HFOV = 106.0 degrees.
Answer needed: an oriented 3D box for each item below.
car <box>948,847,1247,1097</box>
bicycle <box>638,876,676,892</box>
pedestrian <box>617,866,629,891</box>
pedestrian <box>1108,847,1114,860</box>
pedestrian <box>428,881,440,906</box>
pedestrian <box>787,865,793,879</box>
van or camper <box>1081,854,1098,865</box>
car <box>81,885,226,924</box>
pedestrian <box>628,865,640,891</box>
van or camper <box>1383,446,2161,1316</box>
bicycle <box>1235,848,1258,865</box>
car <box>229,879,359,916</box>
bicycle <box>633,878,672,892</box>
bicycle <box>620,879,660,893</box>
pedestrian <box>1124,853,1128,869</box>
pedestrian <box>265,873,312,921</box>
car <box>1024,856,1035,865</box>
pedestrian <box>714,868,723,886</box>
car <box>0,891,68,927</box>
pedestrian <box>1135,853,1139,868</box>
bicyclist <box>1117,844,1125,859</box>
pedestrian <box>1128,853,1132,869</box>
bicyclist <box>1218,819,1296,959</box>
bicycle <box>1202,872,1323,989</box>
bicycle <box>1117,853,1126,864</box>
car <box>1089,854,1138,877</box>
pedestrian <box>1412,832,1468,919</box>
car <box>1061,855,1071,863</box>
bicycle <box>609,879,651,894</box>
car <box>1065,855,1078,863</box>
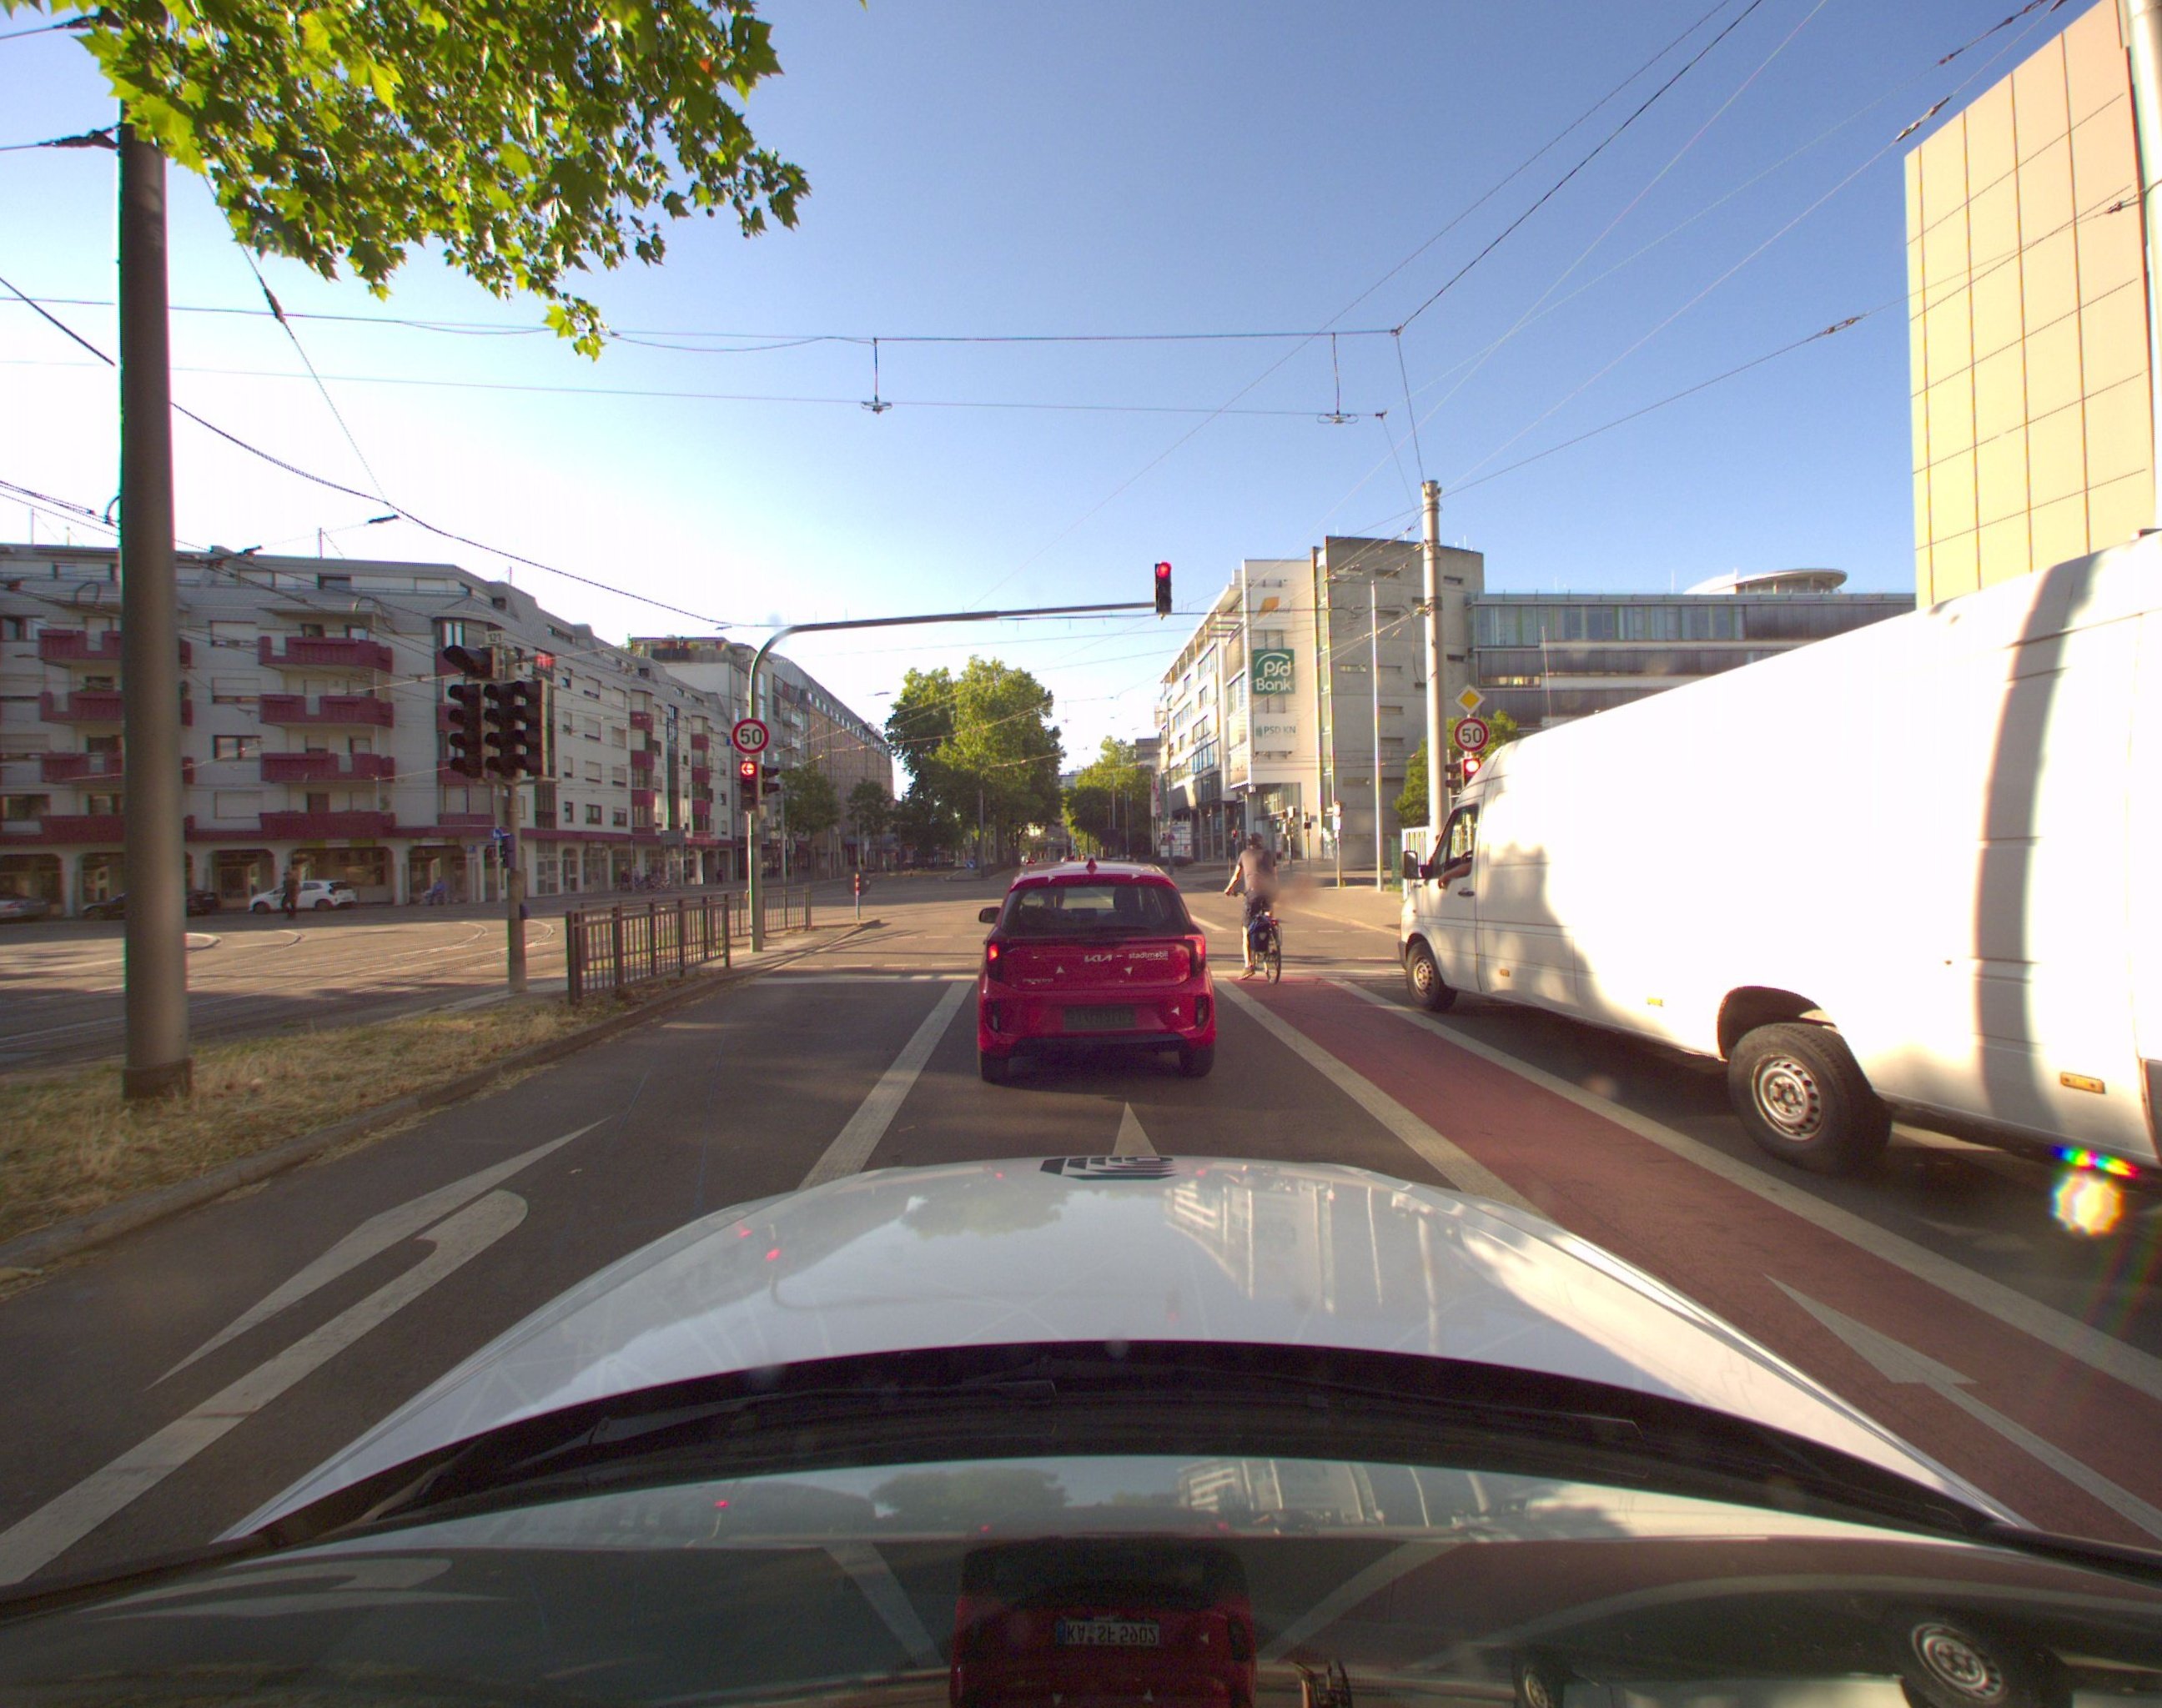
[{"bbox_3d":[0.029,0.730,6.964,1.835,1.489,3.712,-2,0,-3],"label":"car"},{"bbox_3d":[-27.901,1.962,53.568,2.167,0.951,0.491,-2,0,-7],"label":"bicycle"},{"bbox_3d":[-31.101,1.674,55.331,0.509,1.699,0.527,-2,0,-5],"label":"pedestrian"},{"bbox_3d":[3.851,-0.076,104.698,0.741,1.716,0.747,-2,0,-5],"label":"pedestrian"},{"bbox_3d":[-32.449,1.973,40.828,0.303,1.214,0.318,-2,0,-8],"label":"pedestrian"},{"bbox_3d":[-31.985,1.964,89.470,0.509,1.459,0.527,-2,0,-5],"label":"pedestrian"},{"bbox_3d":[1.359,0.867,132.367,2.143,1.750,4.422,-3,0,-6],"label":"van or camper"},{"bbox_3d":[-42.389,2.286,37.316,3.995,1.464,1.792,-3,0,-16],"label":"car"},{"bbox_3d":[-30.514,1.640,55.638,0.509,1.699,0.527,-2,0,-5],"label":"pedestrian"},{"bbox_3d":[4.432,0.091,5.470,2.263,2.733,6.341,1,0,-2],"label":"van or camper"},{"bbox_3d":[15.245,0.237,74.878,1.931,1.443,0.574,-2,0,-5],"label":"bicycle"},{"bbox_3d":[-37.215,2.035,38.639,3.994,1.464,1.792,-3,0,-15],"label":"car"},{"bbox_3d":[-27.820,2.022,52.929,2.167,0.824,0.526,-2,0,-7],"label":"bicycle"},{"bbox_3d":[-27.888,2.033,51.566,2.167,0.787,0.491,-2,0,-7],"label":"bicycle"},{"bbox_3d":[4.605,0.696,82.844,0.293,1.562,0.302,-2,0,-1],"label":"pedestrian"},{"bbox_3d":[-29.340,1.577,30.169,0.708,1.662,1.031,-2,0,-8],"label":"pedestrian"},{"bbox_3d":[-11.099,1.389,175.839,2.056,1.654,3.482,-2,0,-8],"label":"car"},{"bbox_3d":[-30.220,1.921,67.830,0.510,1.459,0.526,-2,0,-11],"label":"pedestrian"},{"bbox_3d":[-48.476,2.500,36.052,4.263,1.464,1.793,-3,0,-14],"label":"car"},{"bbox_3d":[5.678,0.681,83.013,0.292,1.562,0.315,-2,0,7],"label":"pedestrian"},{"bbox_3d":[4.413,-0.286,89.187,0.781,1.635,0.640,-2,0,6],"label":"bicyclist"},{"bbox_3d":[4.997,0.690,82.800,0.293,1.562,0.355,-2,0,-3],"label":"pedestrian"},{"bbox_3d":[2.174,0.419,10.137,0.743,1.669,0.742,0,0,-9],"label":"bicyclist"},{"bbox_3d":[2.181,0.869,10.130,0.743,1.224,2.149,0,0,-9],"label":"bicycle"},{"bbox_3d":[4.474,0.440,89.449,0.788,1.161,2.504,-2,0,7],"label":"bicycle"},{"bbox_3d":[2.415,0.878,61.188,1.853,1.568,4.236,-2,0,-26],"label":"car"},{"bbox_3d":[7.534,0.446,17.113,0.783,1.748,0.772,-2,0,2],"label":"pedestrian"},{"bbox_3d":[-3.426,1.141,181.721,1.882,1.528,4.422,-3,0,-6],"label":"car"},{"bbox_3d":[-28.103,2.033,50.790,2.167,0.787,0.639,-2,0,-7],"label":"bicycle"},{"bbox_3d":[-1.972,1.012,166.589,2.474,1.528,4.424,-3,0,-5],"label":"car"}]
